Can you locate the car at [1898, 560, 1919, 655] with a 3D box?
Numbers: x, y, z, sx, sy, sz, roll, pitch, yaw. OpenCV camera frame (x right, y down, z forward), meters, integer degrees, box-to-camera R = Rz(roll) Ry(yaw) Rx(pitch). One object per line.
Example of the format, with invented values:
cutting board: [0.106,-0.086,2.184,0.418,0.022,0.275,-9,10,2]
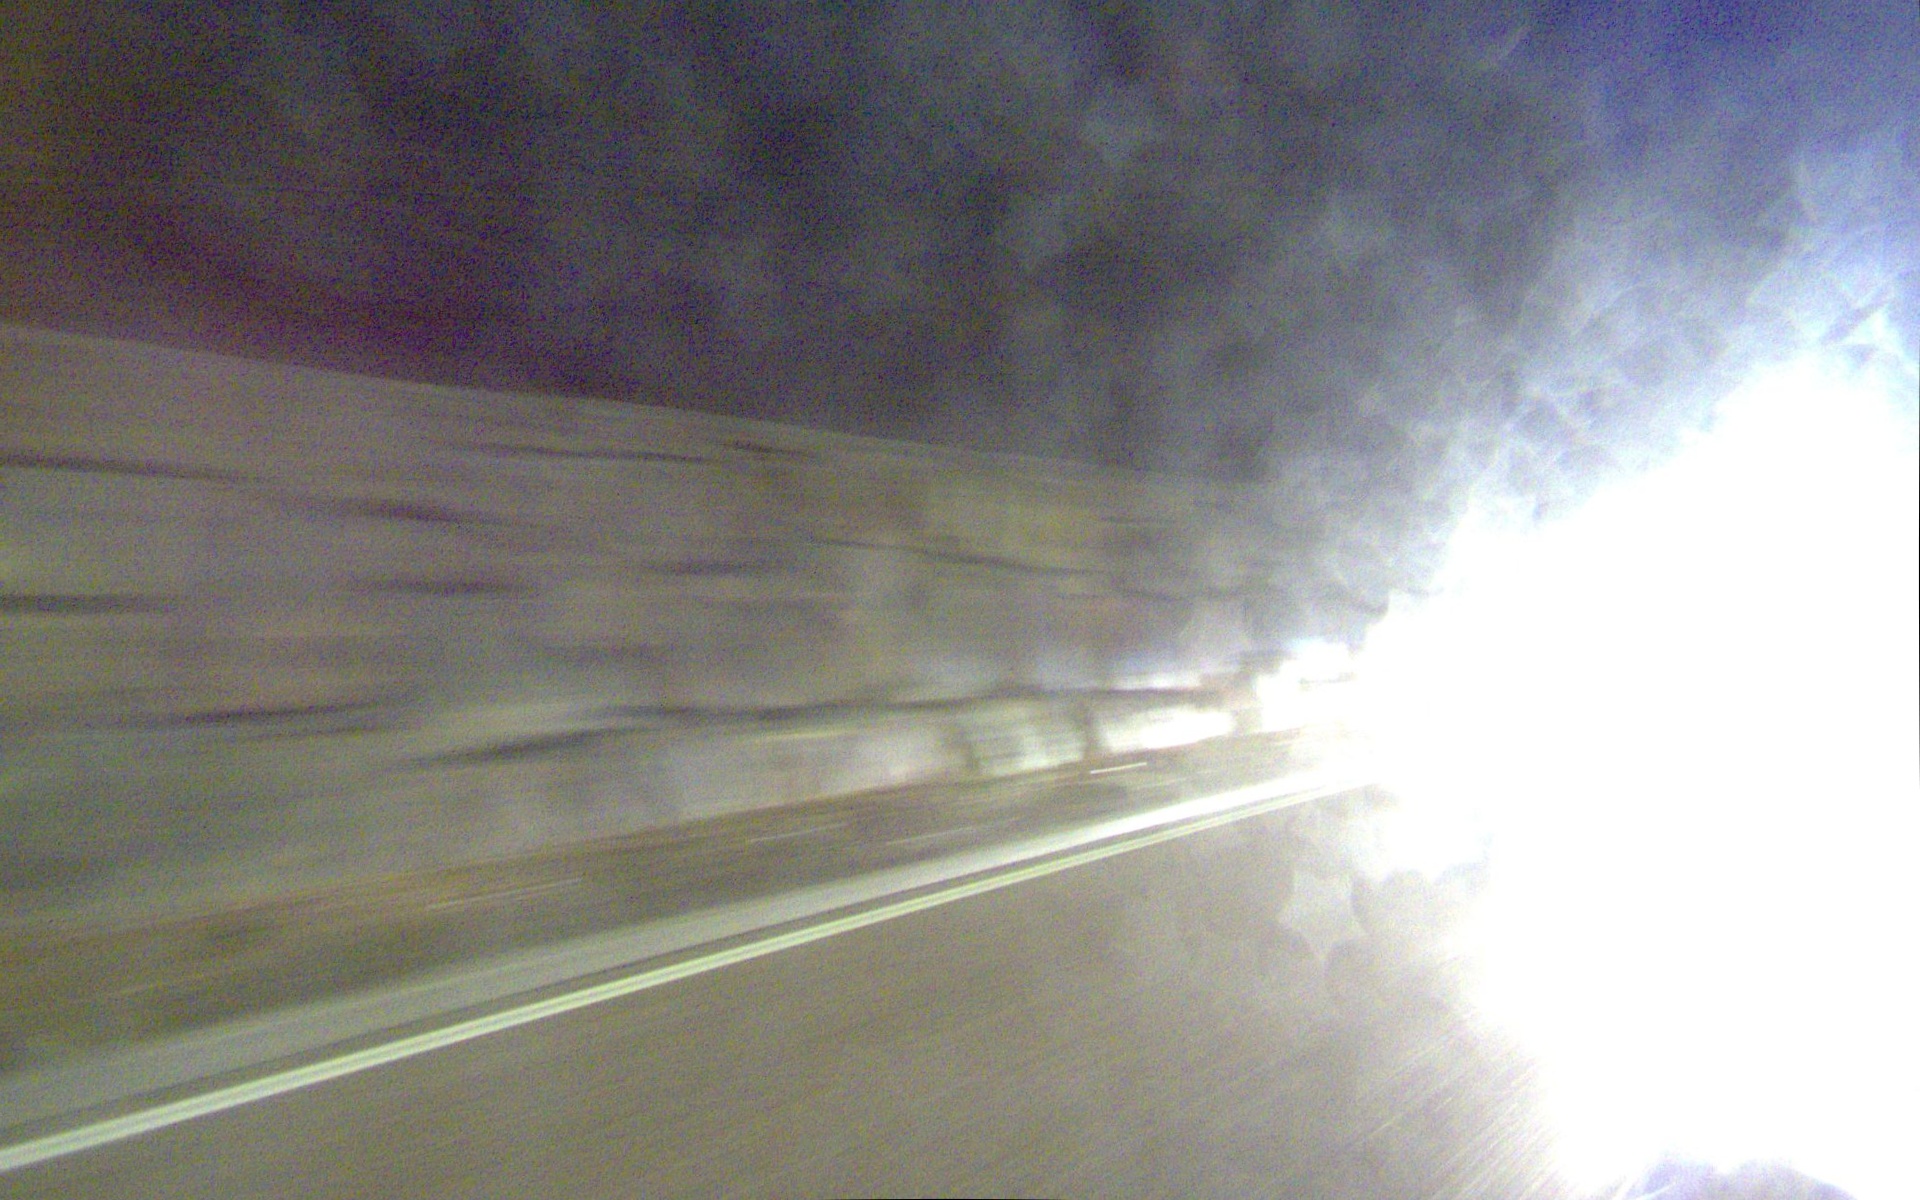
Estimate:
car: [20.643,0.110,20.527,4.123,1.835,1.794,-1,0,-39]

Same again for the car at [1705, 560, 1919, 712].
car: [11.280,0.349,12.967,4.806,1.608,1.876,-1,0,-42]
